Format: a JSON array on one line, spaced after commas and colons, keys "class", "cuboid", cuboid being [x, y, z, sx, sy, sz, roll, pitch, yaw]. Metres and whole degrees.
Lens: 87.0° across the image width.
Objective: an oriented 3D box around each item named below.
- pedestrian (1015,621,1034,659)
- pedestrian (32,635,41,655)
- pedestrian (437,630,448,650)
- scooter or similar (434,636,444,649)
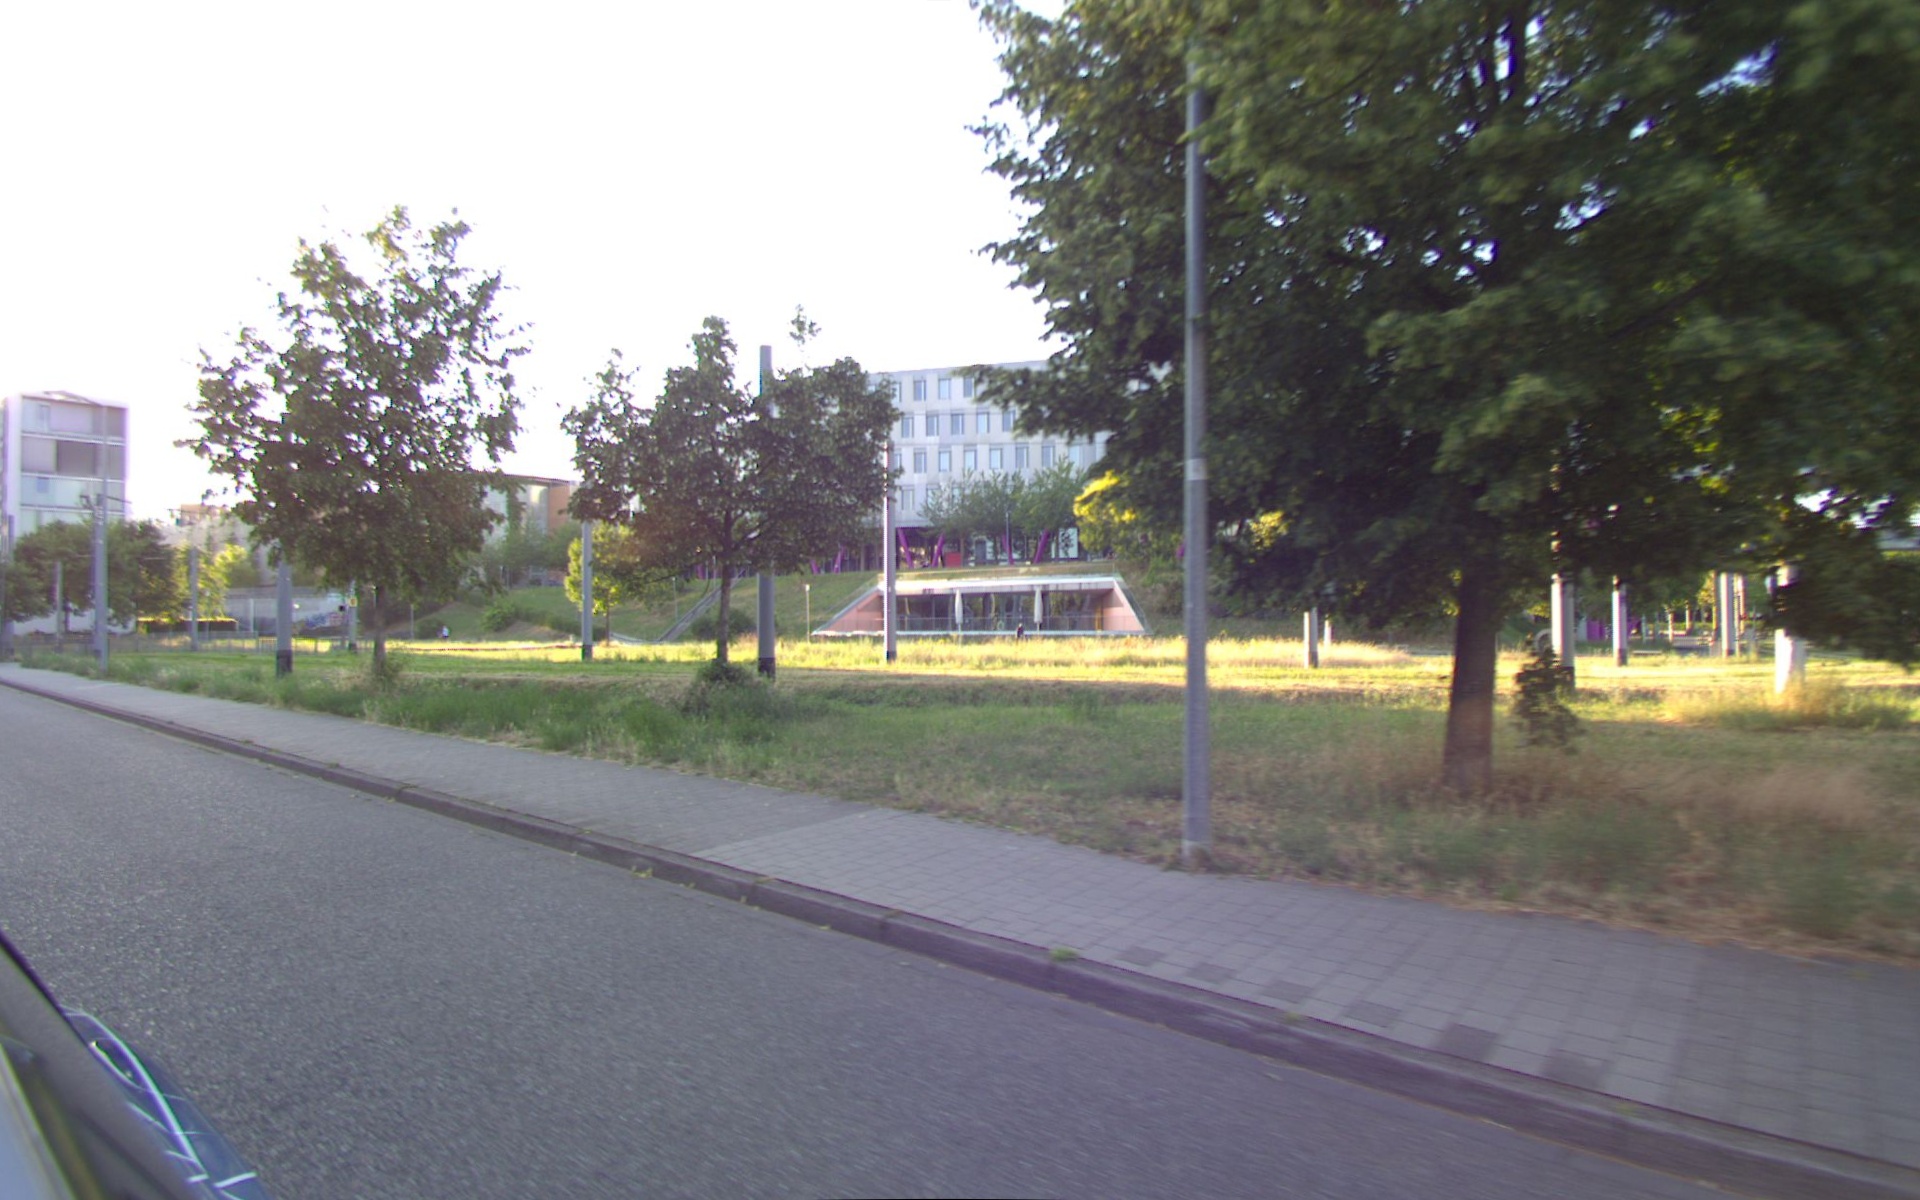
[{"class": "pedestrian", "cuboid": [3.679, 2.292, 57.817, 0.790, 2.098, 0.610, -2, 0, 40]}, {"class": "pedestrian", "cuboid": [-85.114, 4.161, 93.245, 0.480, 1.850, 0.446, -2, 0, 20]}, {"class": "pedestrian", "cuboid": [-50.058, 3.876, 97.928, 0.790, 1.850, 0.610, -2, 0, 40]}, {"class": "scooter or similar", "cuboid": [-50.721, 4.165, 98.504, 0.790, 1.253, 0.610, -2, 0, 40]}]
